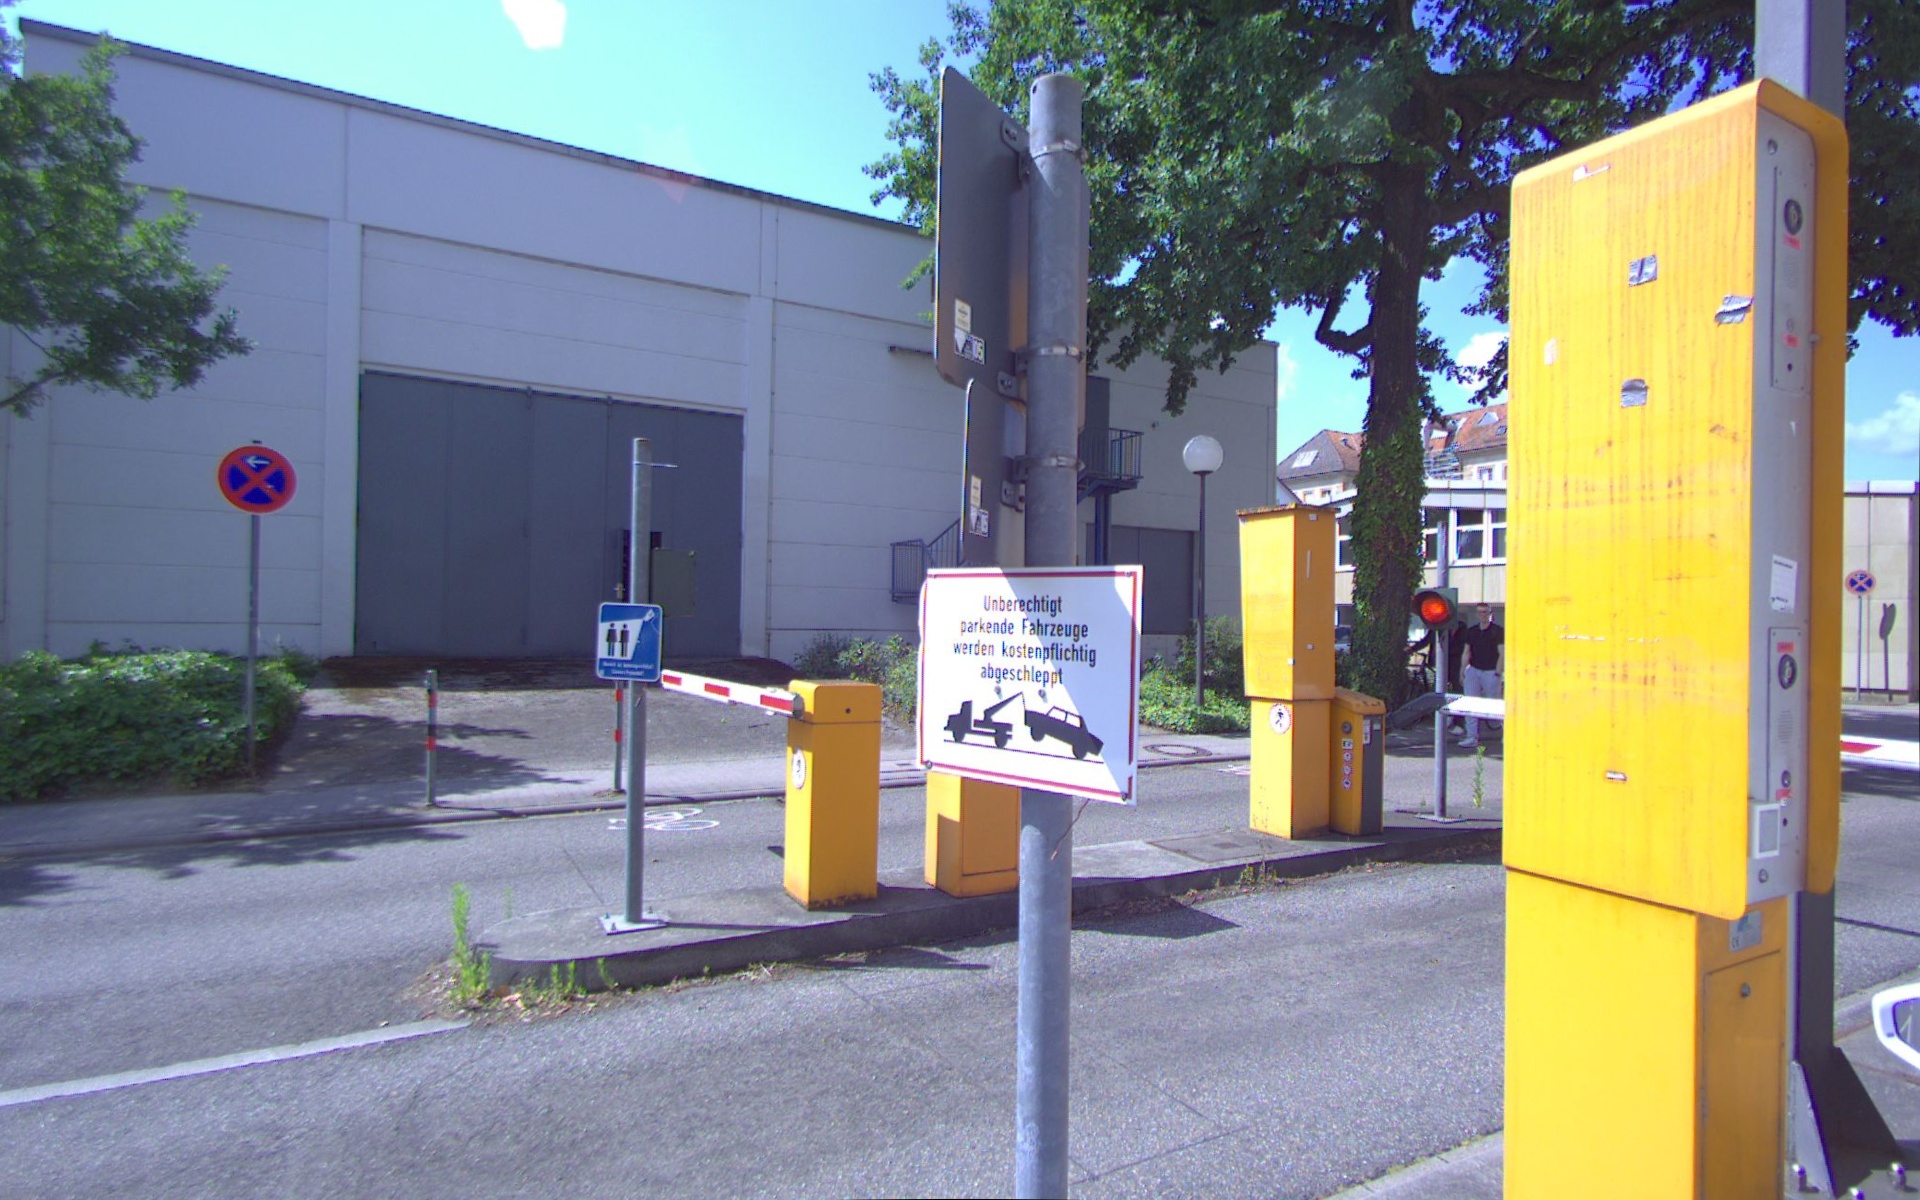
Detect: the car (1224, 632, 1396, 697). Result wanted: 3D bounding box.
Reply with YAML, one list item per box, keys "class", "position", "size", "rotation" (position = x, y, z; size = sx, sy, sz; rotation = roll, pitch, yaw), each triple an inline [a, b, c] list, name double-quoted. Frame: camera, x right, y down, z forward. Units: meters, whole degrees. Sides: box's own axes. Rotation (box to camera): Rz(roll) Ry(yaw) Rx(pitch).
- class: "car"
  position: [8.883, 1.588, 25.424]
  size: [4.249, 1.486, 1.820]
  rotation: [1, -1, -30]

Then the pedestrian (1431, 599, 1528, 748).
- class: "pedestrian"
  position: [6.695, 0.917, 12.953]
  size: [0.990, 1.833, 0.702]
  rotation: [1, -1, -30]

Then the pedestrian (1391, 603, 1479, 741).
- class: "pedestrian"
  position: [6.625, 0.966, 14.010]
  size: [1.041, 1.840, 0.804]
  rotation: [0, -1, 31]

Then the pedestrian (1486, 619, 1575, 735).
- class: "pedestrian"
  position: [8.252, 1.081, 14.543]
  size: [0.796, 1.607, 0.851]
  rotation: [1, -1, -30]

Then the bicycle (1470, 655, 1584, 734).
- class: "bicycle"
  position: [8.491, 1.384, 15.031]
  size: [1.878, 1.063, 0.642]
  rotation: [1, -1, -30]
